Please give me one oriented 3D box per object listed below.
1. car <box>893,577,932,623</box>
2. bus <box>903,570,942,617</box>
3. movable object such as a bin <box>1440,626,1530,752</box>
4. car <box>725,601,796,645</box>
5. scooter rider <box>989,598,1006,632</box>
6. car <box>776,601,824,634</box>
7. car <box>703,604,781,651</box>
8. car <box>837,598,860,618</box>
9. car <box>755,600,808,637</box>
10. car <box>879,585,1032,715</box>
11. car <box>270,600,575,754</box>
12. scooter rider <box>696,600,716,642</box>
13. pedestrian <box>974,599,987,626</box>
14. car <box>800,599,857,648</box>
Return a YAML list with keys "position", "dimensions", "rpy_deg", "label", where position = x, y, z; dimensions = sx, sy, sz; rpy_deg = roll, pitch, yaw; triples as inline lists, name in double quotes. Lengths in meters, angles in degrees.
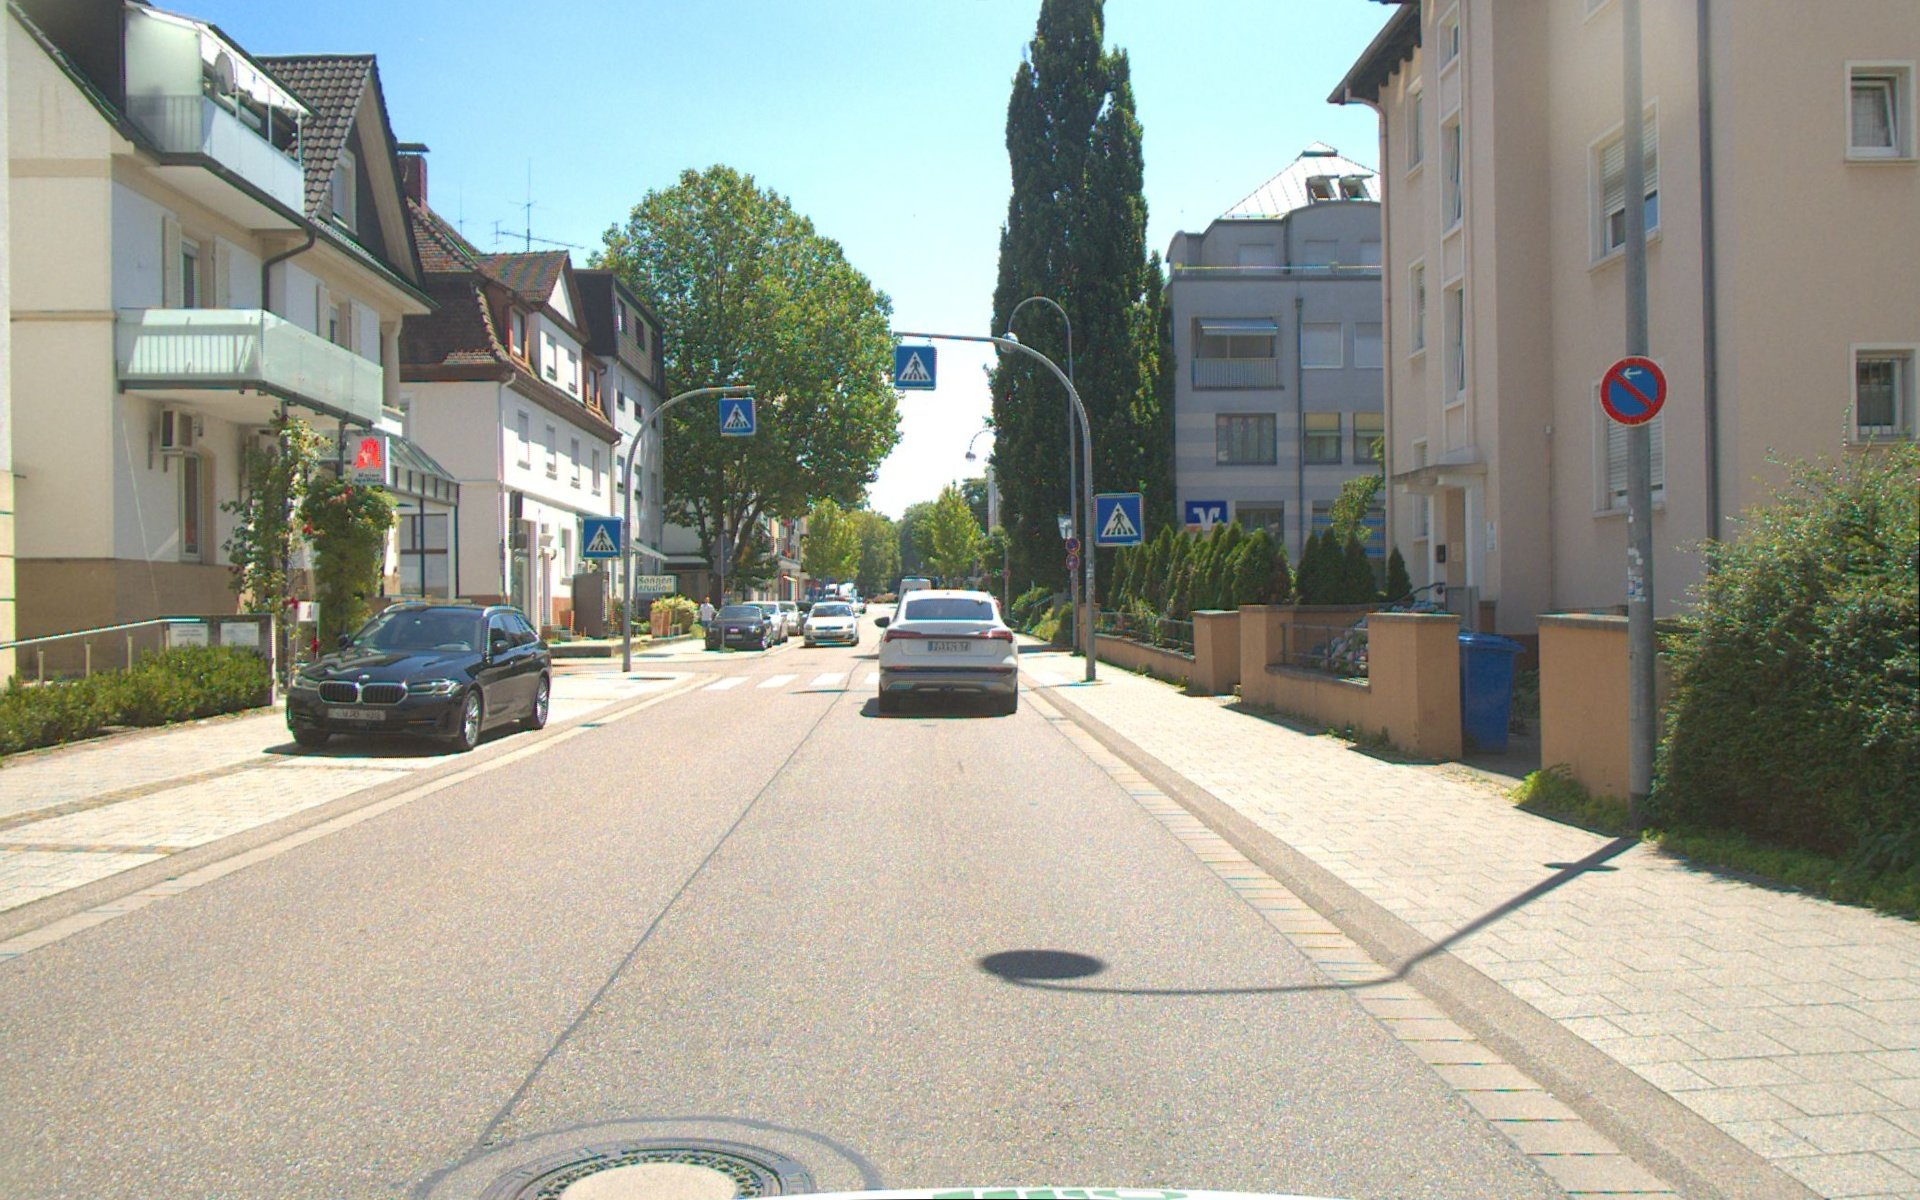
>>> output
- position: [-2.691, 0.022, 94.581]
  dimensions: [2.112, 2.484, 5.282]
  rpy_deg: [1, 0, -1]
  label: "car"
- position: [-2.746, -0.449, 122.995]
  dimensions: [2.606, 3.278, 7.301]
  rpy_deg: [1, 0, 1]
  label: "bus"
- position: [4.856, 0.810, 15.328]
  dimensions: [0.612, 1.119, 0.633]
  rpy_deg: [-1, 0, 1]
  label: "movable object such as a bin"
- position: [-7.043, 0.797, 58.896]
  dimensions: [1.941, 1.477, 5.356]
  rpy_deg: [0, 0, -1]
  label: "car"
- position: [1.805, 0.711, 79.055]
  dimensions: [0.702, 1.576, 0.770]
  rpy_deg: [-2, 0, -4]
  label: "scooter rider"
- position: [-7.362, 0.797, 76.508]
  dimensions: [1.941, 1.477, 5.148]
  rpy_deg: [0, 0, -3]
  label: "car"
- position: [-6.906, 0.855, 52.829]
  dimensions: [1.903, 1.397, 5.097]
  rpy_deg: [0, 0, -1]
  label: "car"
- position: [-9.498, 0.684, 141.314]
  dimensions: [1.717, 1.646, 4.400]
  rpy_deg: [1, 0, 0]
  label: "car"
- position: [-7.583, 0.763, 70.604]
  dimensions: [1.941, 1.477, 4.865]
  rpy_deg: [0, 0, -3]
  label: "car"
- position: [-0.155, 0.645, 23.262]
  dimensions: [1.954, 1.661, 3.998]
  rpy_deg: [1, 0, -3]
  label: "car"
- position: [-5.969, 0.774, 19.117]
  dimensions: [1.878, 1.477, 5.148]
  rpy_deg: [2, 0, -1]
  label: "car"
- position: [-9.707, 0.801, 63.210]
  dimensions: [0.576, 1.603, 0.877]
  rpy_deg: [1, 0, 0]
  label: "scooter rider"
- position: [1.303, 0.795, 104.258]
  dimensions: [0.686, 1.655, 0.783]
  rpy_deg: [-4, 0, -3]
  label: "pedestrian"
- position: [-4.391, 0.775, 55.630]
  dimensions: [1.772, 1.508, 3.866]
  rpy_deg: [-2, 0, -3]
  label: "car"
